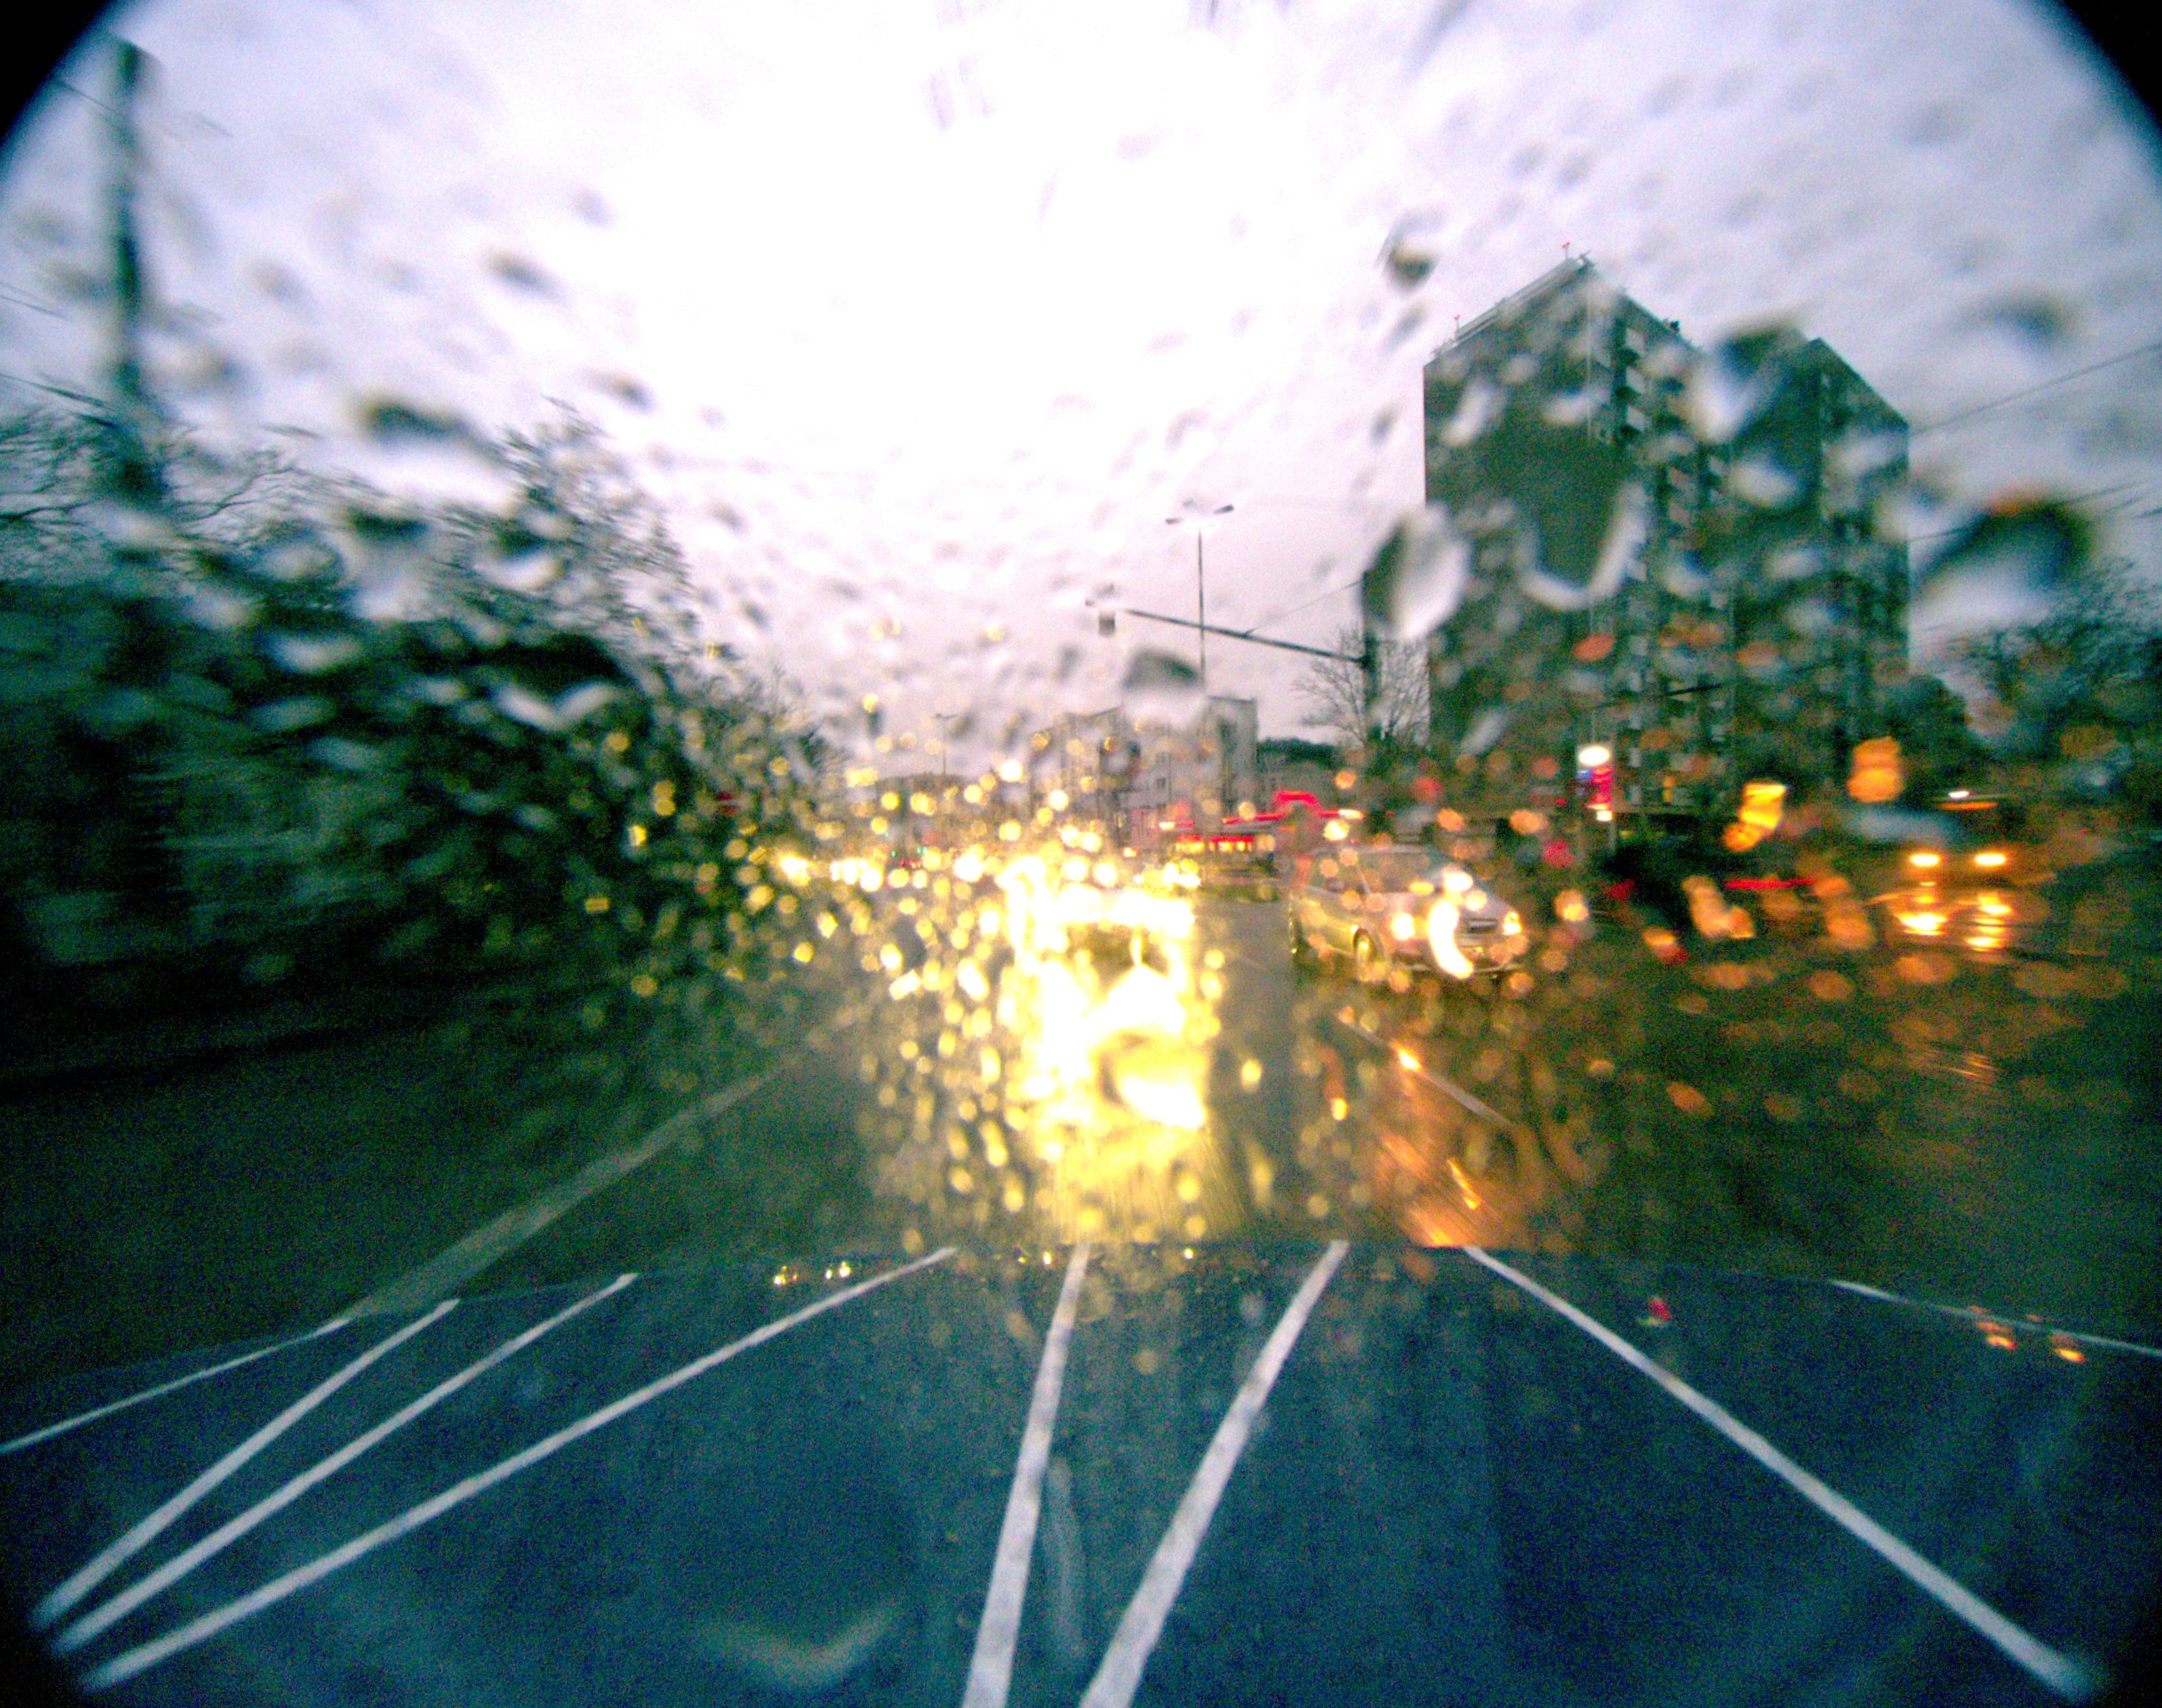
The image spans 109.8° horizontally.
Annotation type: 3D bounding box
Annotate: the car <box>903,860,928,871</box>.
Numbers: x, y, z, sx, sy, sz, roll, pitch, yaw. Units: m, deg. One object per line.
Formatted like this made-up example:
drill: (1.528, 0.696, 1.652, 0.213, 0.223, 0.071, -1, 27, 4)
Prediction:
car: (-21.622, 1.500, 98.905, 1.972, 1.378, 4.524, -1, -1, -29)

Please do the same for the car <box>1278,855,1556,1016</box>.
car: (3.897, 0.812, 9.640, 1.649, 1.539, 4.109, -2, 0, -1)

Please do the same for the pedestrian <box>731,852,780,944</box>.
pedestrian: (-6.762, 0.900, 15.795, 0.574, 1.827, 0.683, 4, -1, -1)

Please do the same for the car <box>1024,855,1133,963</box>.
car: (-0.090, 0.854, 13.687, 1.650, 1.575, 3.803, -2, 1, -2)

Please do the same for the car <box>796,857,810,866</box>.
car: (-53.548, 1.487, 146.217, 2.003, 1.599, 3.991, -2, 0, -28)

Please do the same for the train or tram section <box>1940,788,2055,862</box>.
train or tram section: (45.656, -1.450, 37.712, 11.170, 3.219, 3.161, -3, 1, -37)

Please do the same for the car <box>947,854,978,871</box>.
car: (-13.195, 0.981, 84.390, 1.972, 1.772, 4.524, -1, -1, -29)

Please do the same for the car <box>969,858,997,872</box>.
car: (-10.045, 1.134, 78.030, 1.653, 1.478, 3.992, -1, -1, -26)

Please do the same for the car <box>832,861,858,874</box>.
car: (-26.813, 1.548, 86.327, 1.972, 1.378, 4.524, -1, -1, -29)

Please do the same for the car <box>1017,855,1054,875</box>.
car: (-3.911, 0.927, 64.805, 1.652, 1.620, 4.651, -1, -1, -23)

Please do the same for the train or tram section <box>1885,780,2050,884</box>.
train or tram section: (34.715, -0.967, 29.404, 16.337, 3.170, 3.161, -3, 1, -37)

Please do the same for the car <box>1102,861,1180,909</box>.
car: (2.015, 1.006, 26.630, 1.754, 1.535, 3.997, -1, 0, -10)

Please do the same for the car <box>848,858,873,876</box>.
car: (-26.886, 1.572, 92.546, 2.003, 2.002, 3.991, -1, 0, -29)

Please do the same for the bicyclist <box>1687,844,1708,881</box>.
bicyclist: (23.599, 0.306, 29.081, 0.505, 1.382, 0.971, -2, 1, 34)

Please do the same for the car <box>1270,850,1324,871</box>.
car: (16.236, 0.473, 57.110, 4.007, 1.521, 1.775, -1, 0, -34)

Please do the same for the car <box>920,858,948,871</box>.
car: (-17.821, 1.302, 91.964, 1.972, 1.505, 4.524, -1, -1, -29)

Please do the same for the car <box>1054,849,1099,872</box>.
car: (-0.437, 0.568, 66.168, 2.003, 1.934, 4.844, 1, -1, -27)

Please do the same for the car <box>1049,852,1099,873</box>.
car: (-0.537, 0.587, 53.670, 1.652, 1.441, 3.841, -2, 1, -35)

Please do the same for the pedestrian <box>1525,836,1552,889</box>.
pedestrian: (15.454, 0.276, 25.668, 0.468, 1.762, 0.628, -2, 1, -7)

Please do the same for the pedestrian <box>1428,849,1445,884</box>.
pedestrian: (18.556, 0.649, 39.654, 0.629, 1.782, 0.531, -3, 1, -41)

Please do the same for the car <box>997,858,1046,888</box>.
car: (-3.699, 1.140, 46.603, 1.823, 1.732, 4.178, -1, 0, -23)

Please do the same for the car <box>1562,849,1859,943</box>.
car: (11.329, 0.657, 14.094, 1.686, 1.449, 4.058, -1, 0, -12)
